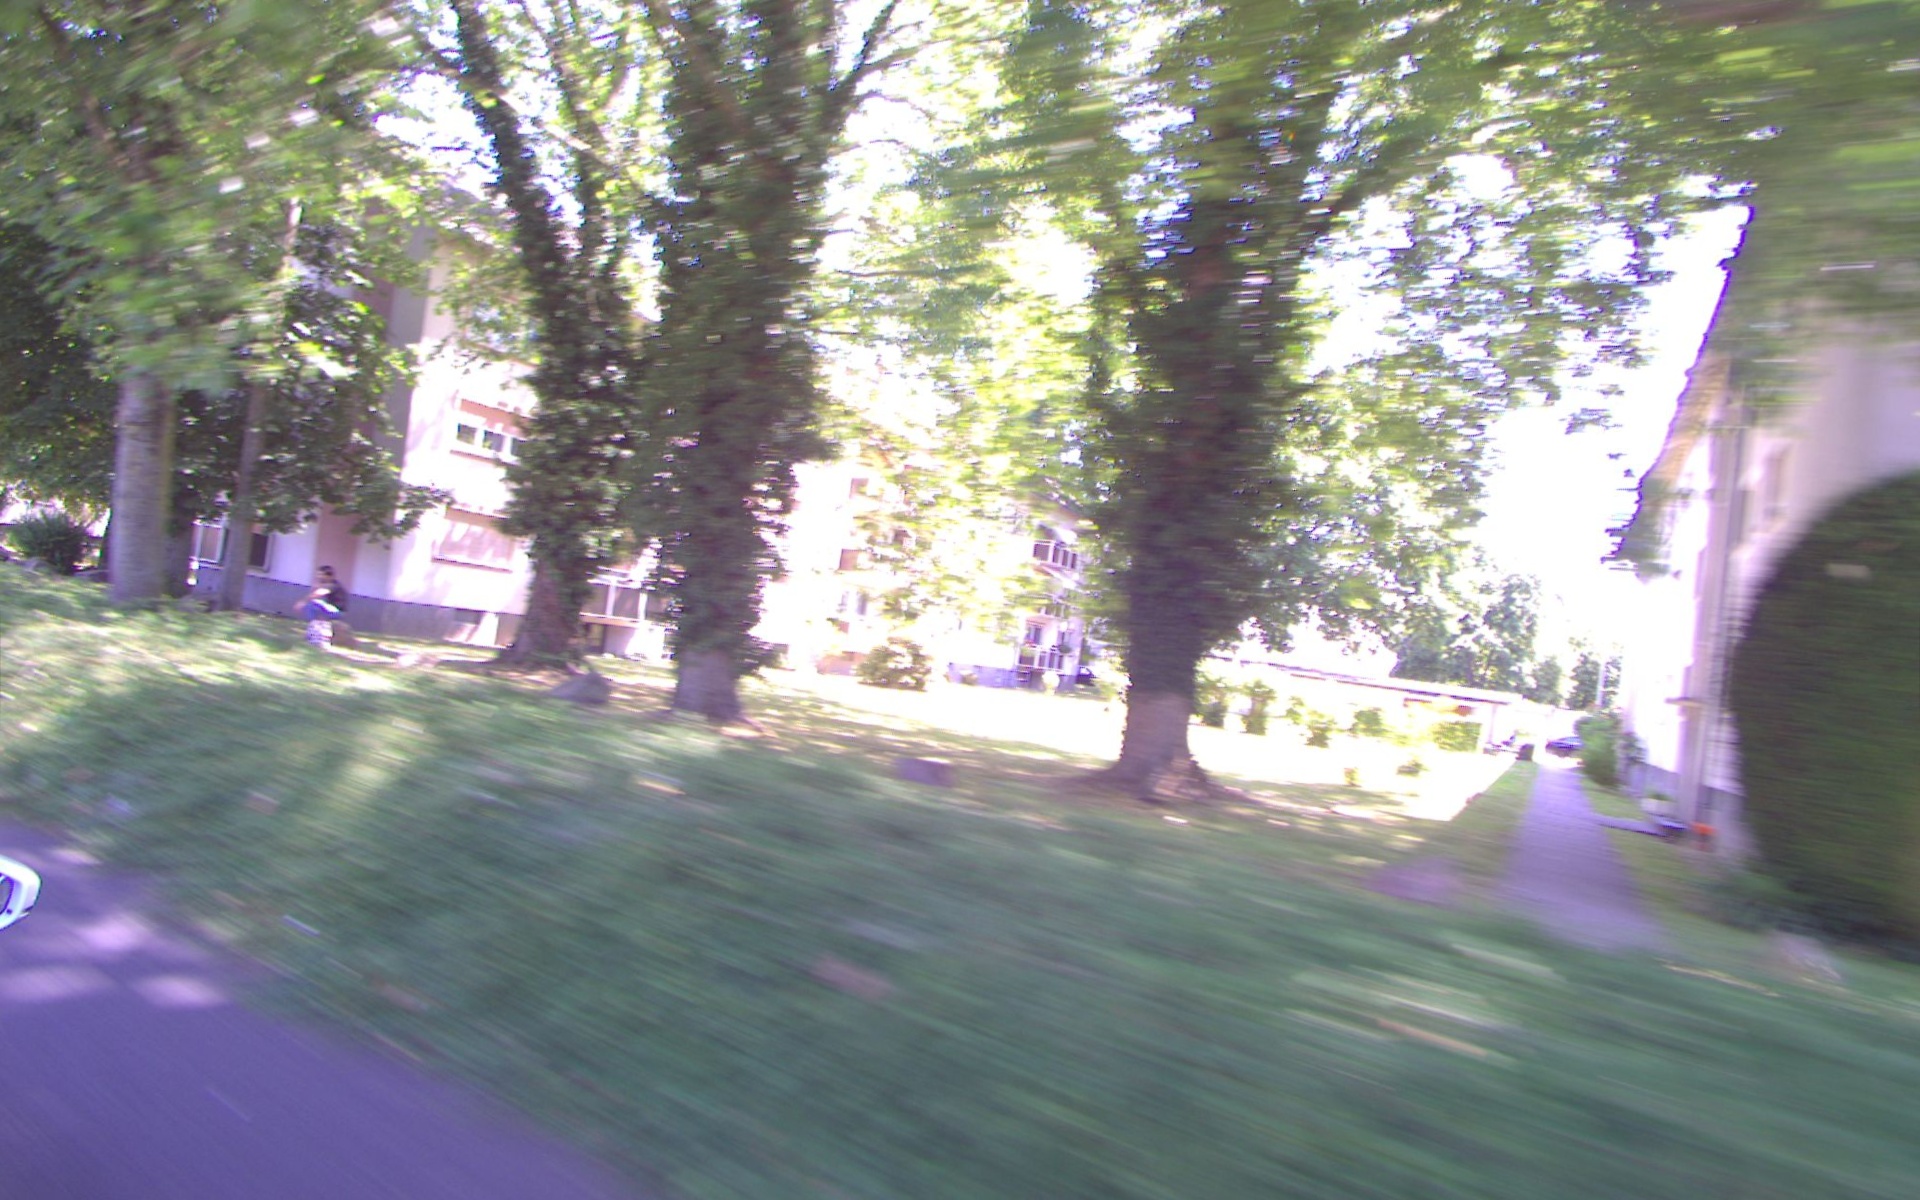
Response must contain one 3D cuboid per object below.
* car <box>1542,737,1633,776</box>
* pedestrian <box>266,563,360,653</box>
[{"bbox_3d":[33.494,8.332,53.747,3.935,1.391,1.997,6,-3,33],"label":"car"},{"bbox_3d":[-10.687,0.137,16.624,1.055,1.307,0.938,6,-3,43],"label":"pedestrian"}]
